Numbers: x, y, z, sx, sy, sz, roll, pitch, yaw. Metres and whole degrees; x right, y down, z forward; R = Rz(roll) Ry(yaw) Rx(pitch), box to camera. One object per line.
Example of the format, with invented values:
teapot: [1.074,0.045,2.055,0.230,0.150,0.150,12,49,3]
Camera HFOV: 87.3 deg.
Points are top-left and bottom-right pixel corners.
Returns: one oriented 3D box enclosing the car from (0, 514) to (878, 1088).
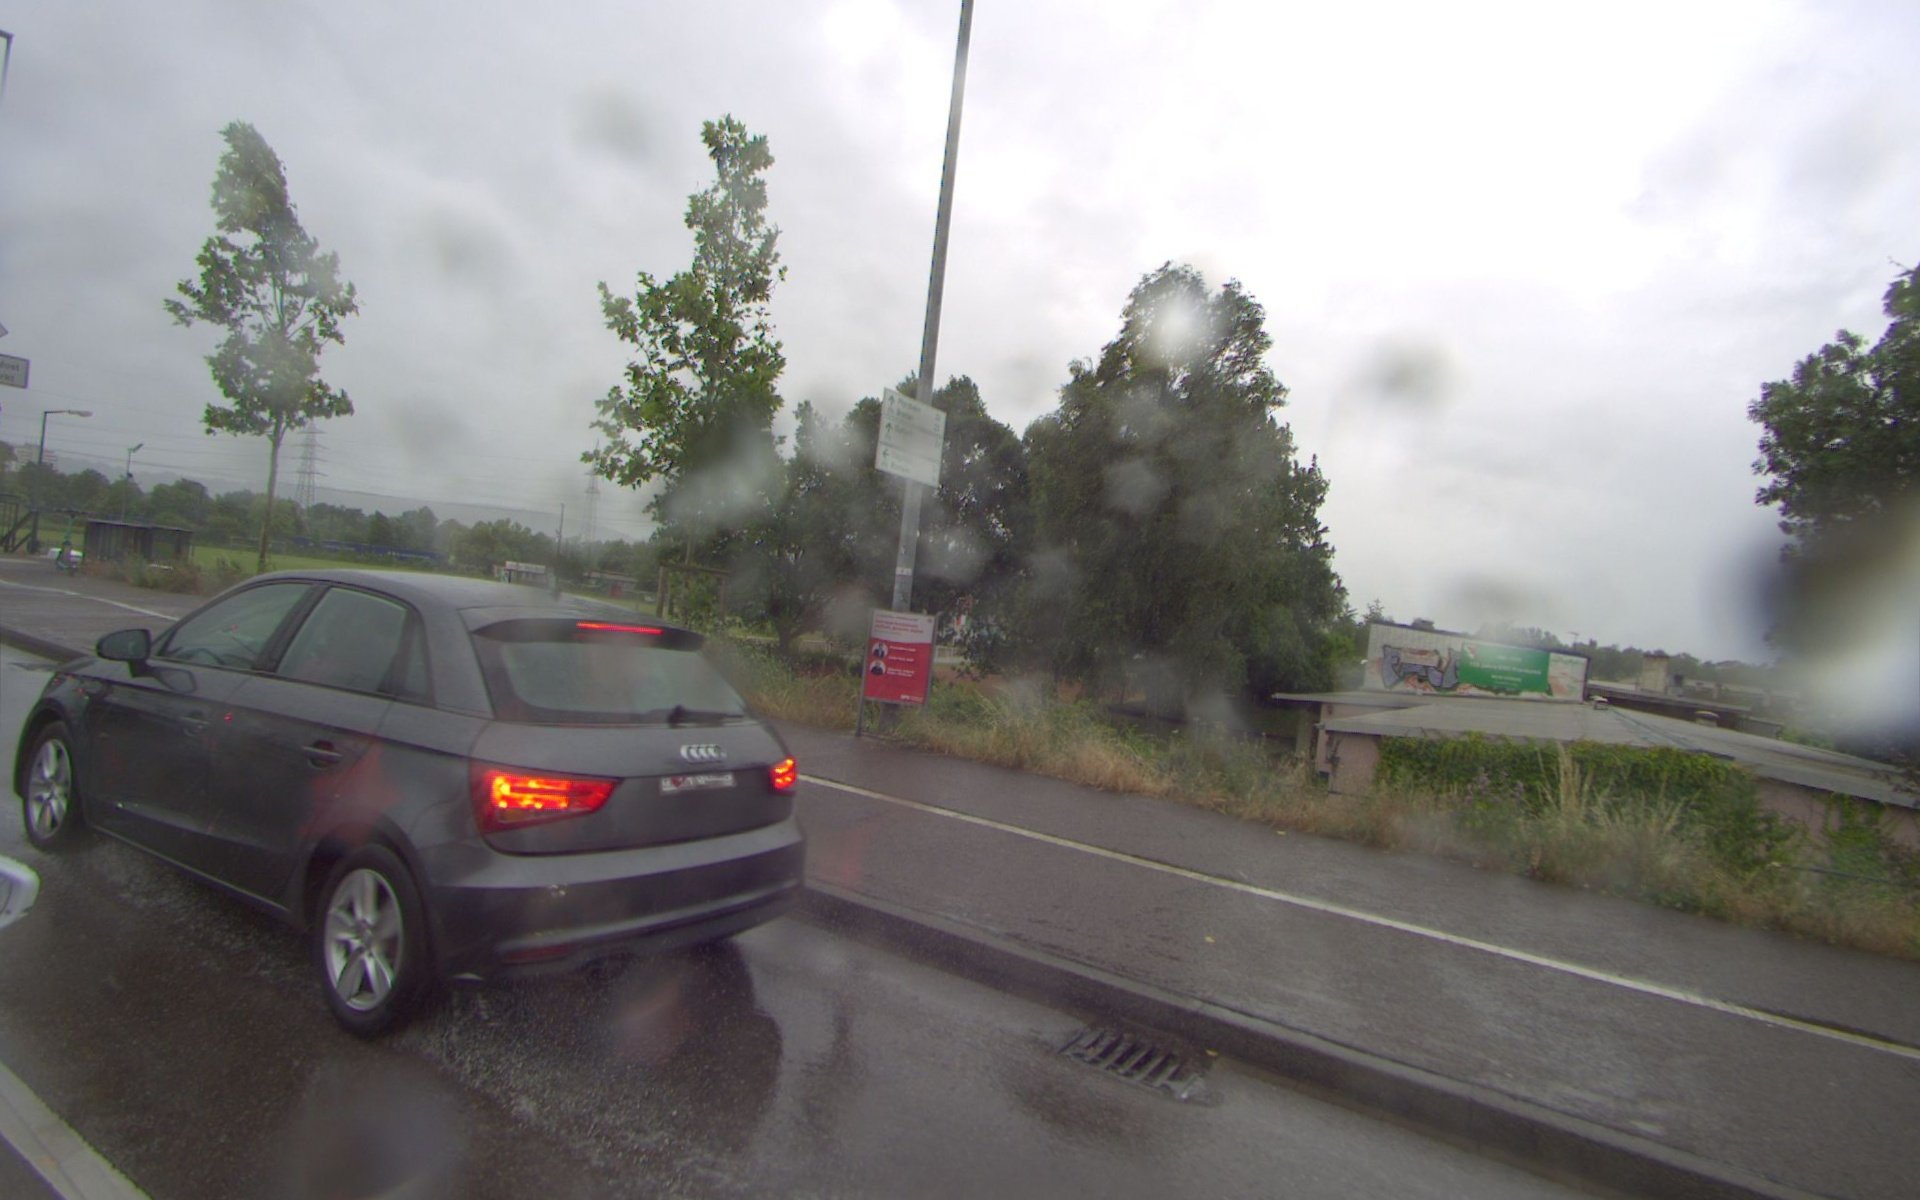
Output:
car: [-2.324,0.517,4.291,3.570,1.383,1.599,6,0,31]

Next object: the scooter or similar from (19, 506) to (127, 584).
scooter or similar: [-16.883,-1.066,19.109,2.971,1.226,0.691,7,0,33]
